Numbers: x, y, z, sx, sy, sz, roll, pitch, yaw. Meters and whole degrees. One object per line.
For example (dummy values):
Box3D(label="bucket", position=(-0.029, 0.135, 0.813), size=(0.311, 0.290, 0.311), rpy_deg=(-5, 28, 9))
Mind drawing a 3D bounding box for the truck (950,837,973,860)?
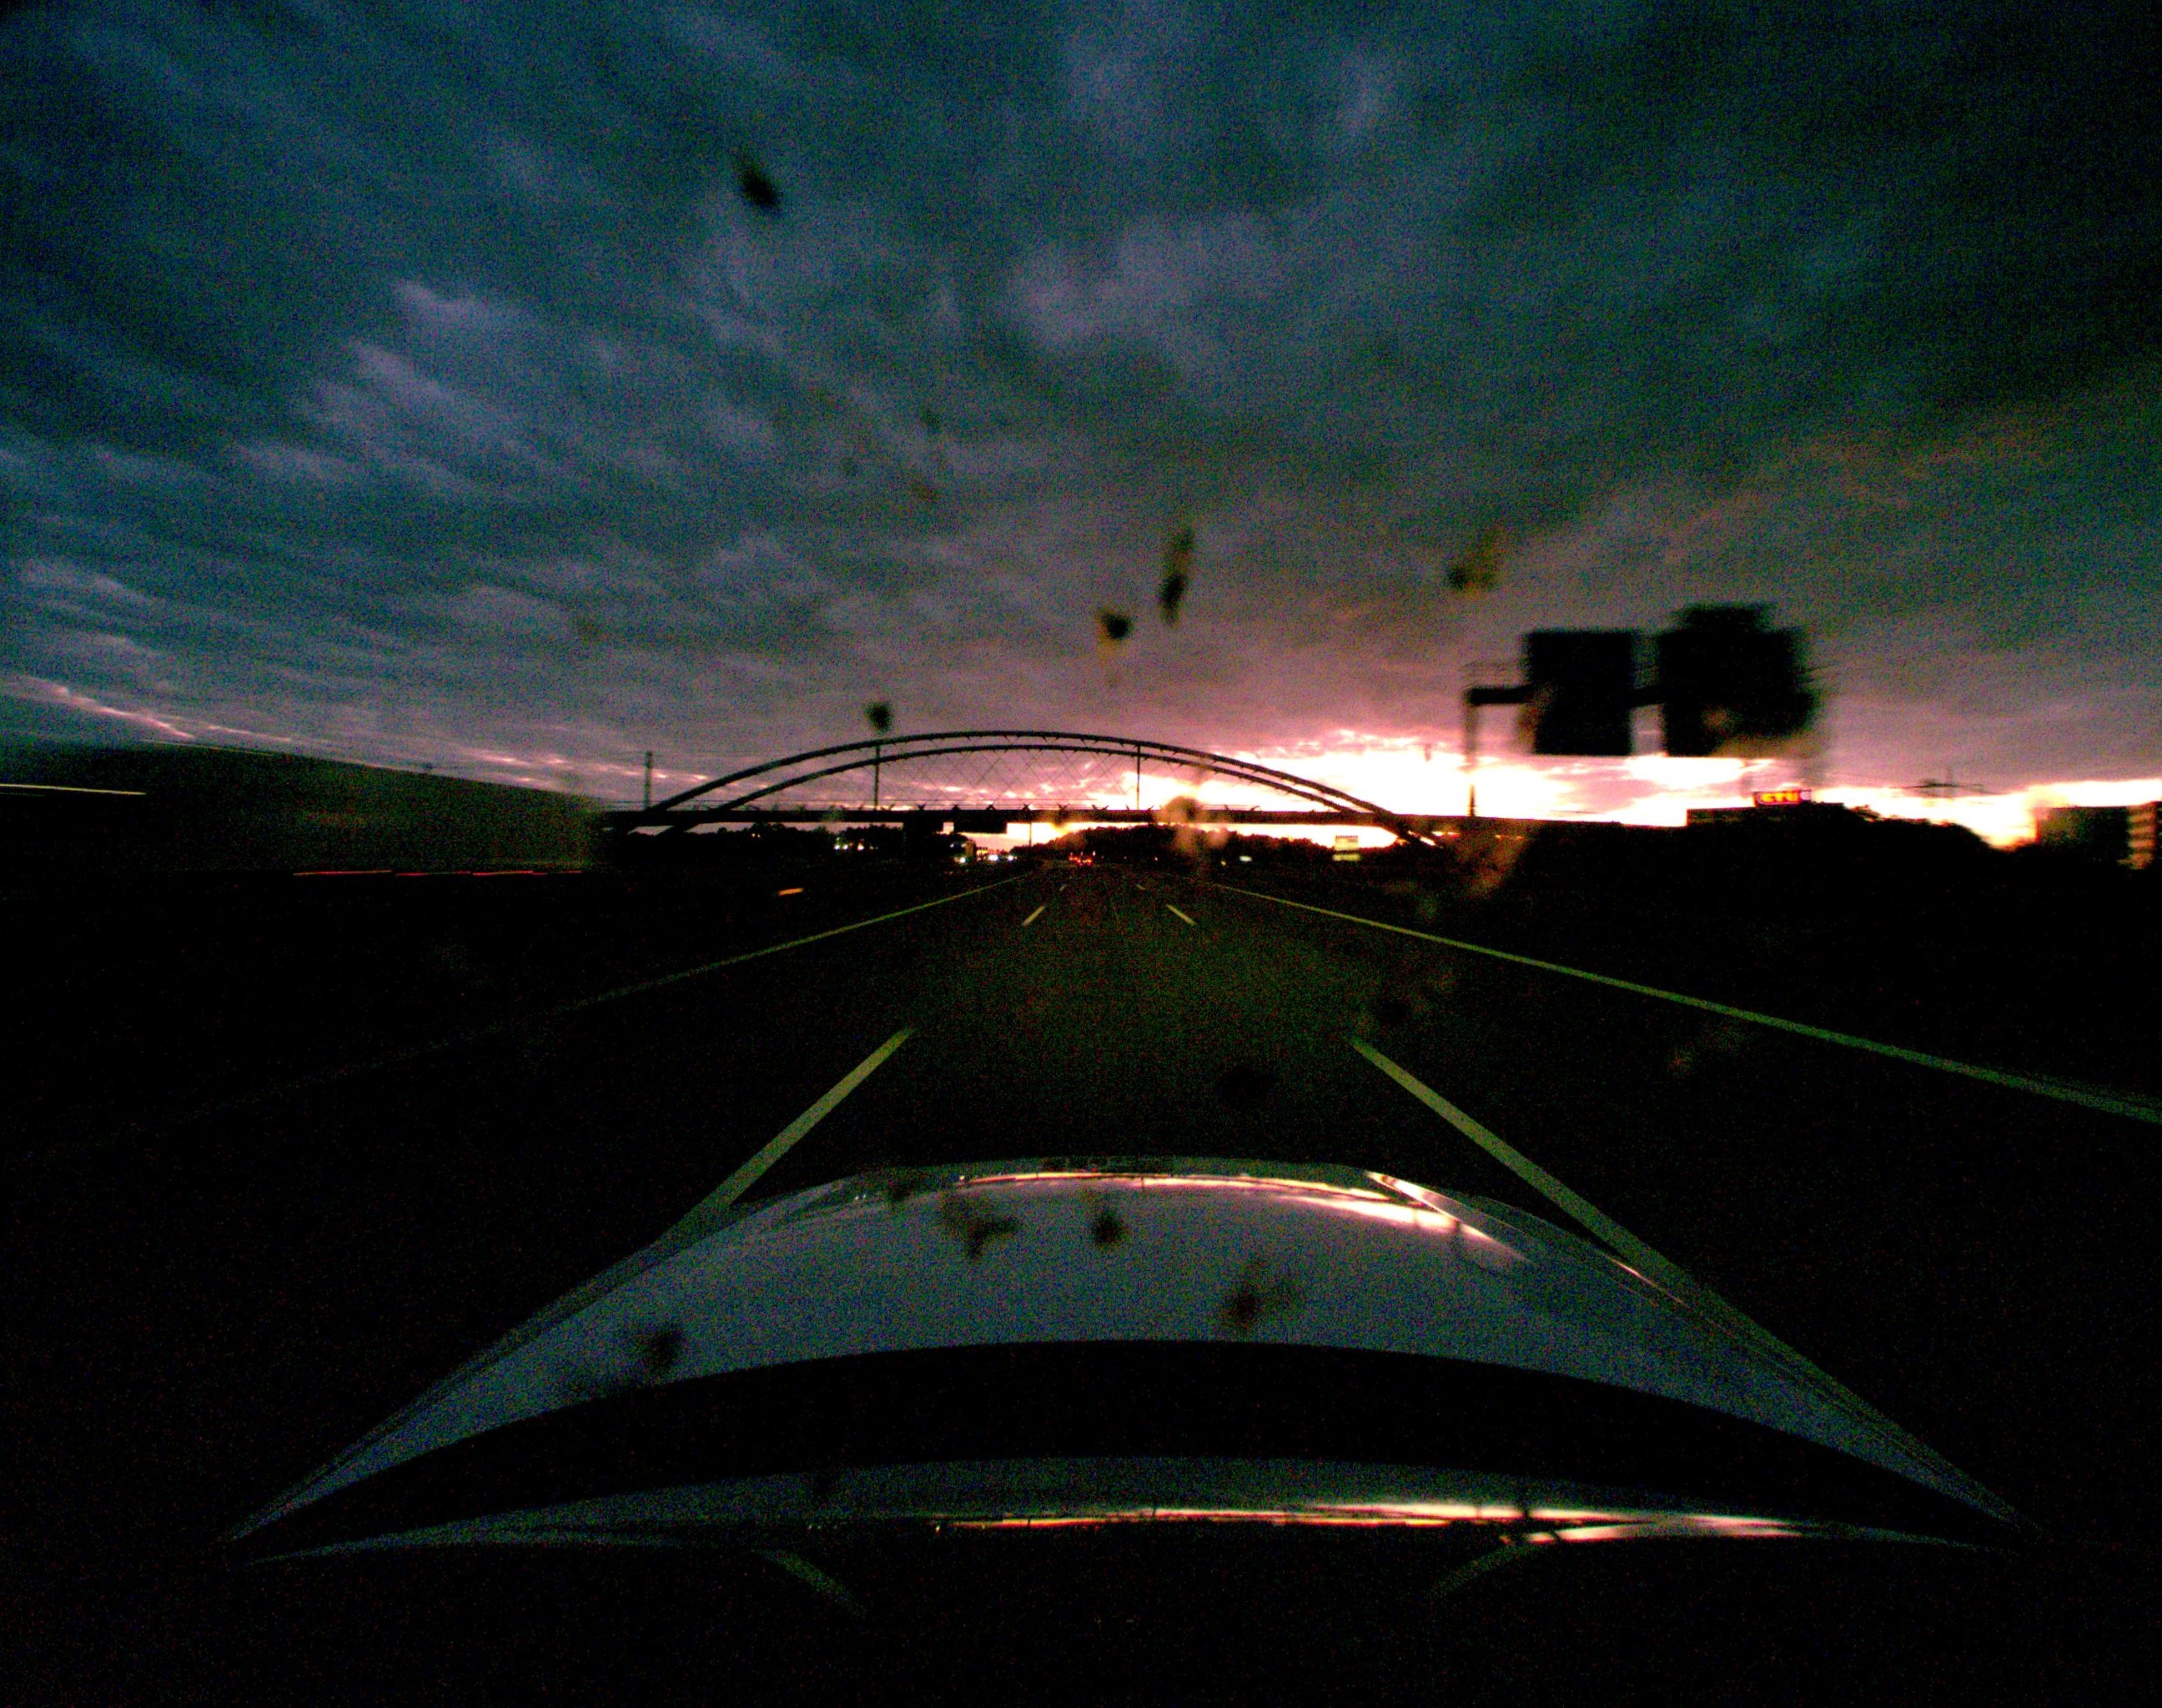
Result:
Box3D(label="truck", position=(-21.537, -0.942, 146.961), size=(2.818, 4.048, 12.204), rpy_deg=(-1, 0, -2))

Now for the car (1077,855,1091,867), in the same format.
Box3D(label="car", position=(0.406, 0.905, 103.103), size=(1.684, 1.401, 3.407), rpy_deg=(0, -1, -1))

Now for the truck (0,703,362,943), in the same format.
Box3D(label="truck", position=(-20.535, -0.583, 18.462), size=(2.815, 4.507, 6.245), rpy_deg=(-1, 0, 0))

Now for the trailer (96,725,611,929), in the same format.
Box3D(label="trailer", position=(-20.441, -0.619, 25.477), size=(2.815, 4.507, 14.628), rpy_deg=(-1, 0, 1))

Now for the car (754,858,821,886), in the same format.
Box3D(label="car", position=(-16.076, 0.974, 44.864), size=(1.986, 1.404, 4.331), rpy_deg=(-1, 0, 1))

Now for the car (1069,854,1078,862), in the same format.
Box3D(label="car", position=(-1.467, 0.844, 166.624), size=(1.682, 1.401, 3.411), rpy_deg=(-1, -2, 3))
